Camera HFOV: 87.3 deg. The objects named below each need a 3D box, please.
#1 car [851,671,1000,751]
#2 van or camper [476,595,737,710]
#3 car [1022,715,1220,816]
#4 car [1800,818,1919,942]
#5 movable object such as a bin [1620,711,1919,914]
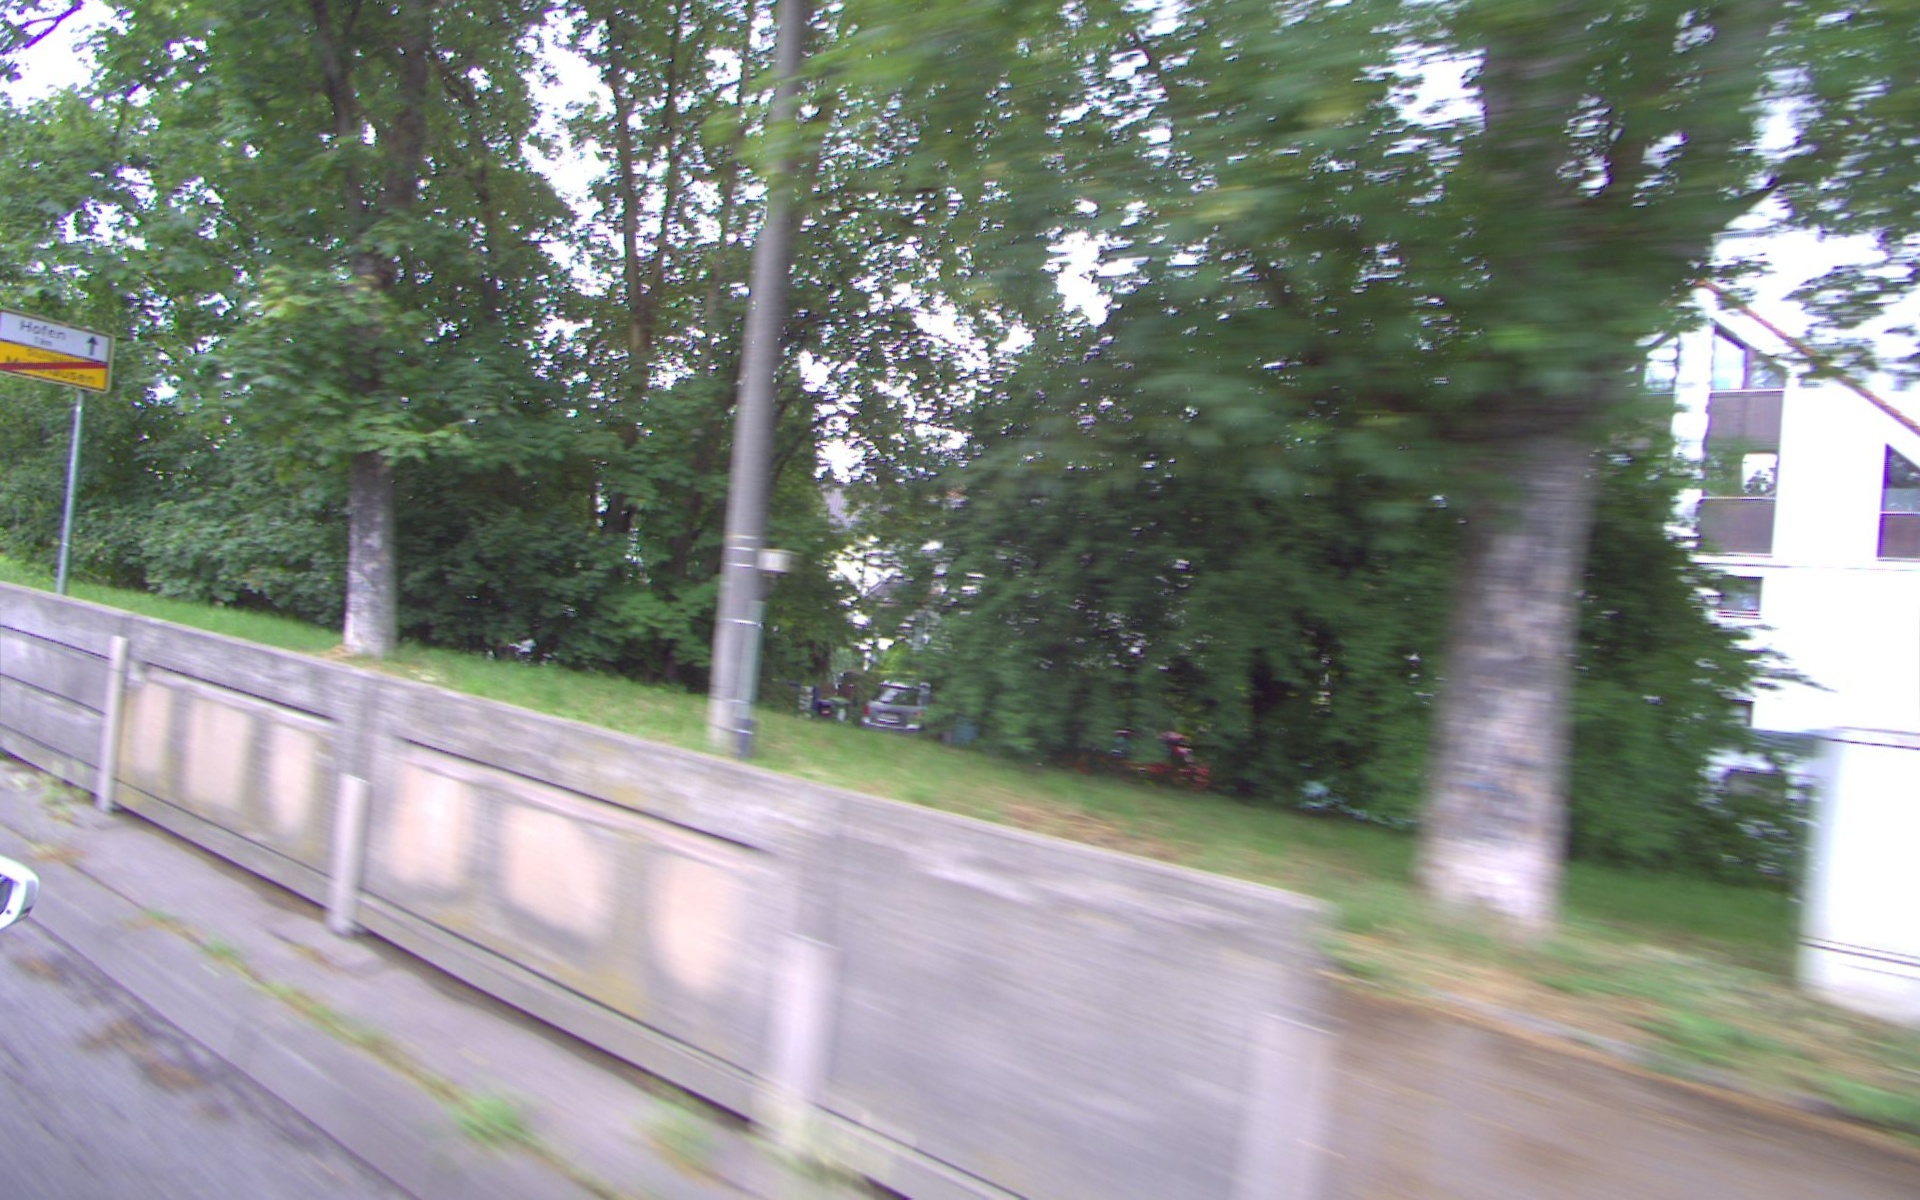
[{"bbox_3d":[-0.771,2.747,24.606,1.719,1.636,3.544,5,-4,36],"label":"car"},{"bbox_3d":[-8.470,1.250,24.052,5.734,2.036,2.186,5,-3,23],"label":"van or camper"},{"bbox_3d":[3.066,3.084,19.104,3.384,1.340,1.423,6,-3,21],"label":"car"},{"bbox_3d":[14.423,4.138,14.038,3.769,1.401,1.484,6,-3,22],"label":"car"},{"bbox_3d":[14.794,3.550,16.530,6.159,2.652,2.001,5,-3,24],"label":"movable object such as a bin"}]
